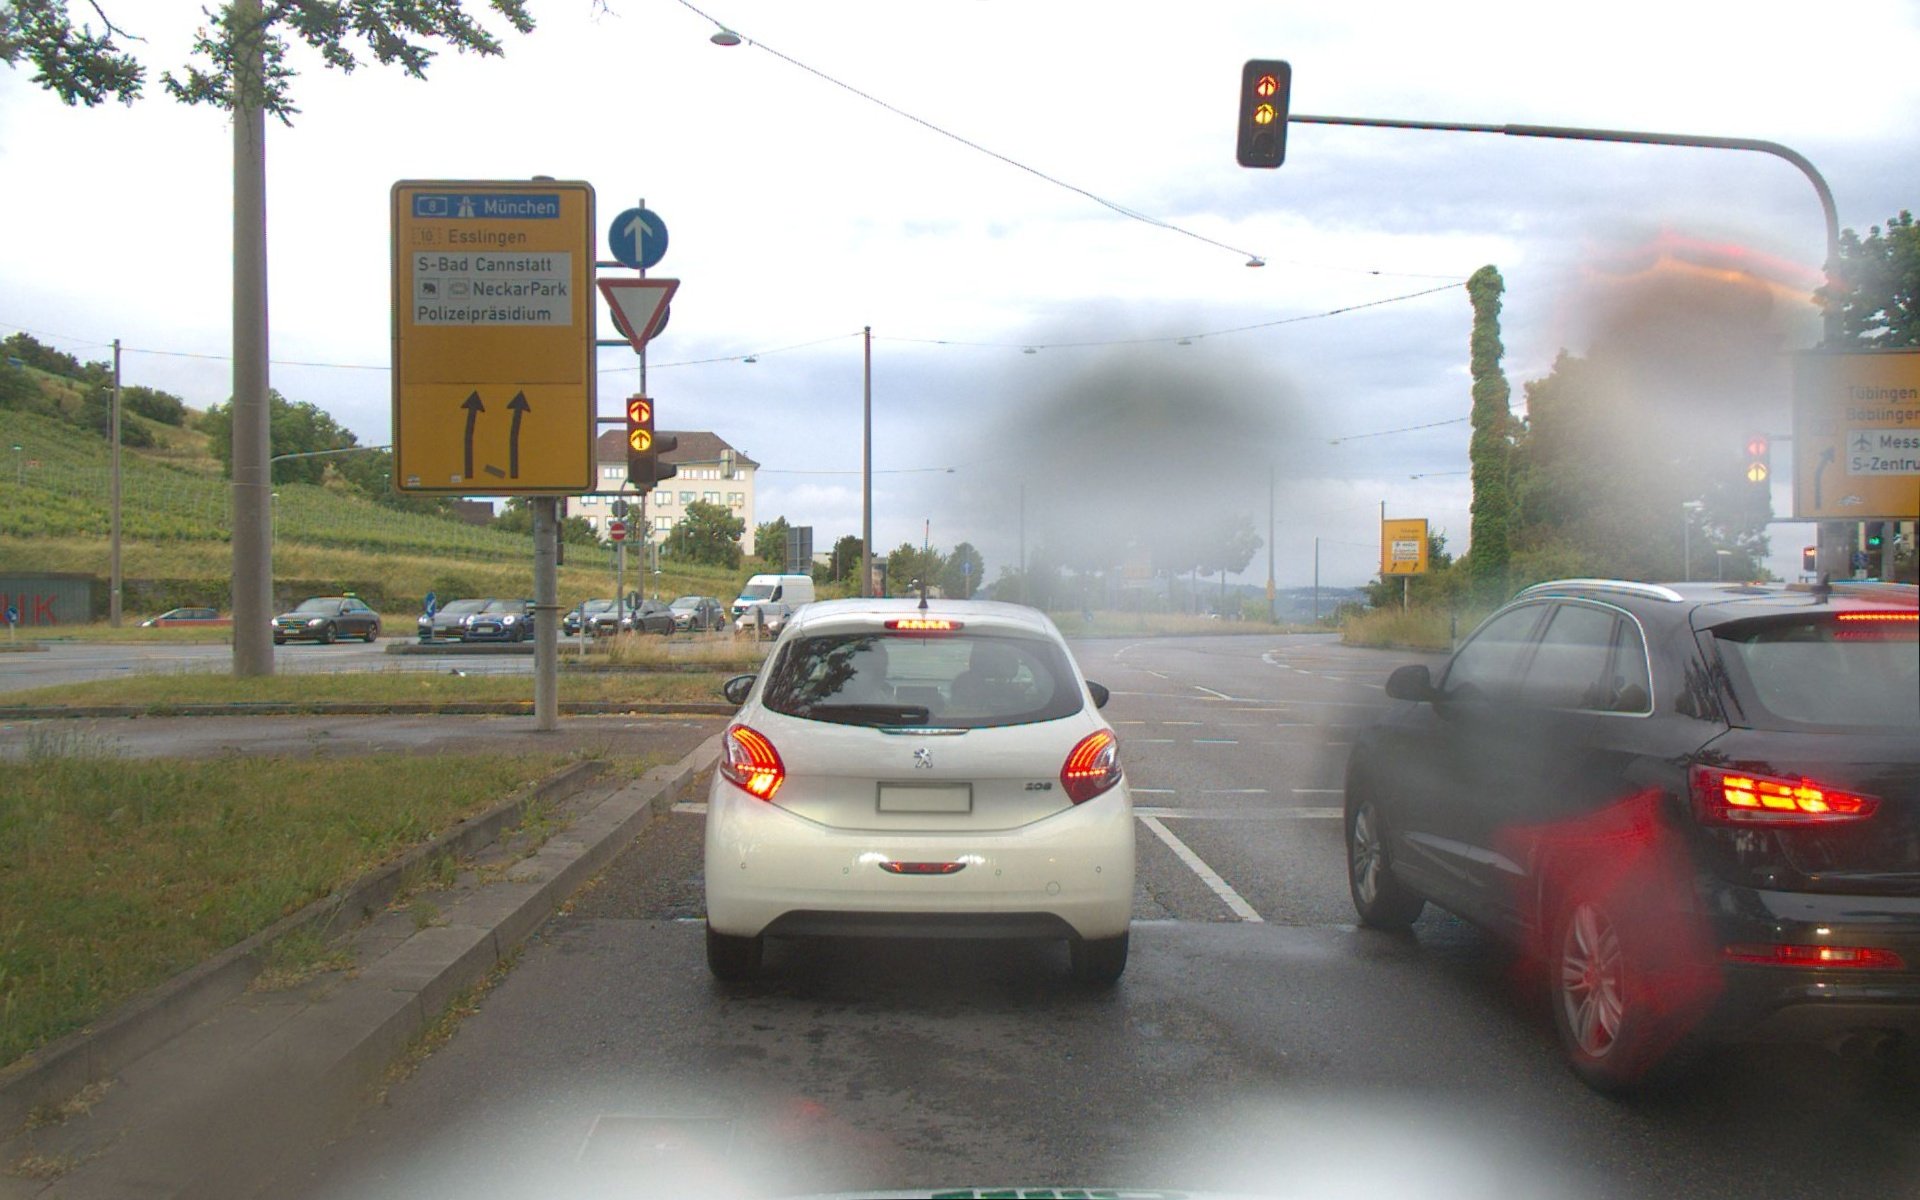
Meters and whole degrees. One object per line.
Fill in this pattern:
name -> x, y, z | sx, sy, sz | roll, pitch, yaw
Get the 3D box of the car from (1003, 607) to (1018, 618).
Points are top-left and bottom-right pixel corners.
car -> 7.249, 1.742, 237.437 | 1.804, 1.512, 3.997 | 0, 0, -3

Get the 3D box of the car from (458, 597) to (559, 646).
car -> -14.031, 0.701, 51.615 | 1.748, 1.420, 3.884 | 1, -1, 5

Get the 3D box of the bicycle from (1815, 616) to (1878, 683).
bicycle -> 14.500, 0.792, 27.095 | 0.793, 1.040, 2.326 | -1, -1, 26

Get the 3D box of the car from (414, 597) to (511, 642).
car -> -16.678, 0.655, 55.668 | 1.749, 1.420, 3.884 | 2, -1, 5

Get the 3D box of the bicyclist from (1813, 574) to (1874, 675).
bicyclist -> 14.542, 0.406, 27.241 | 0.793, 1.611, 1.022 | 2, -1, 26

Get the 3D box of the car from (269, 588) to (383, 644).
car -> -20.233, 0.520, 52.982 | 1.791, 1.652, 4.566 | 2, -1, 1

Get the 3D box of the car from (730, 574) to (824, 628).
car -> -9.258, 0.085, 84.329 | 1.953, 2.604, 6.167 | 2, -1, 23

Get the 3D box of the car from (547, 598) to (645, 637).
car -> -14.802, 0.688, 67.489 | 1.786, 1.498, 4.670 | 0, 1, 19

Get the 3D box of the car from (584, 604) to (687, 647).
car -> -12.239, 0.952, 62.720 | 1.861, 1.515, 4.895 | 2, -1, 15

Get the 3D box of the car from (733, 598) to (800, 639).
car -> -7.242, 0.695, 62.255 | 1.738, 1.450, 4.376 | 0, -1, 4

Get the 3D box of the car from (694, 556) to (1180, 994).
car -> -0.133, 0.631, 7.802 | 1.683, 1.515, 3.998 | 1, 0, -2

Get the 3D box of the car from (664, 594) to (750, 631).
car -> -11.555, 0.587, 75.765 | 1.953, 1.603, 4.194 | 2, -1, 23

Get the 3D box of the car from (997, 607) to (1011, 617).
car -> 6.486, 1.785, 245.803 | 1.804, 1.512, 3.997 | 0, 0, -3

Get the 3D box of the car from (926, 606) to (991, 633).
car -> -0.067, 1.237, 102.615 | 1.959, 1.539, 4.217 | 2, -1, 35

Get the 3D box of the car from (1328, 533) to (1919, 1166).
car -> 2.863, 0.686, 6.371 | 1.846, 1.623, 4.112 | 2, -1, -2

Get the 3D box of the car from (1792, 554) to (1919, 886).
car -> 5.896, 0.647, 7.467 | 1.827, 1.703, 4.563 | 1, 1, -2
